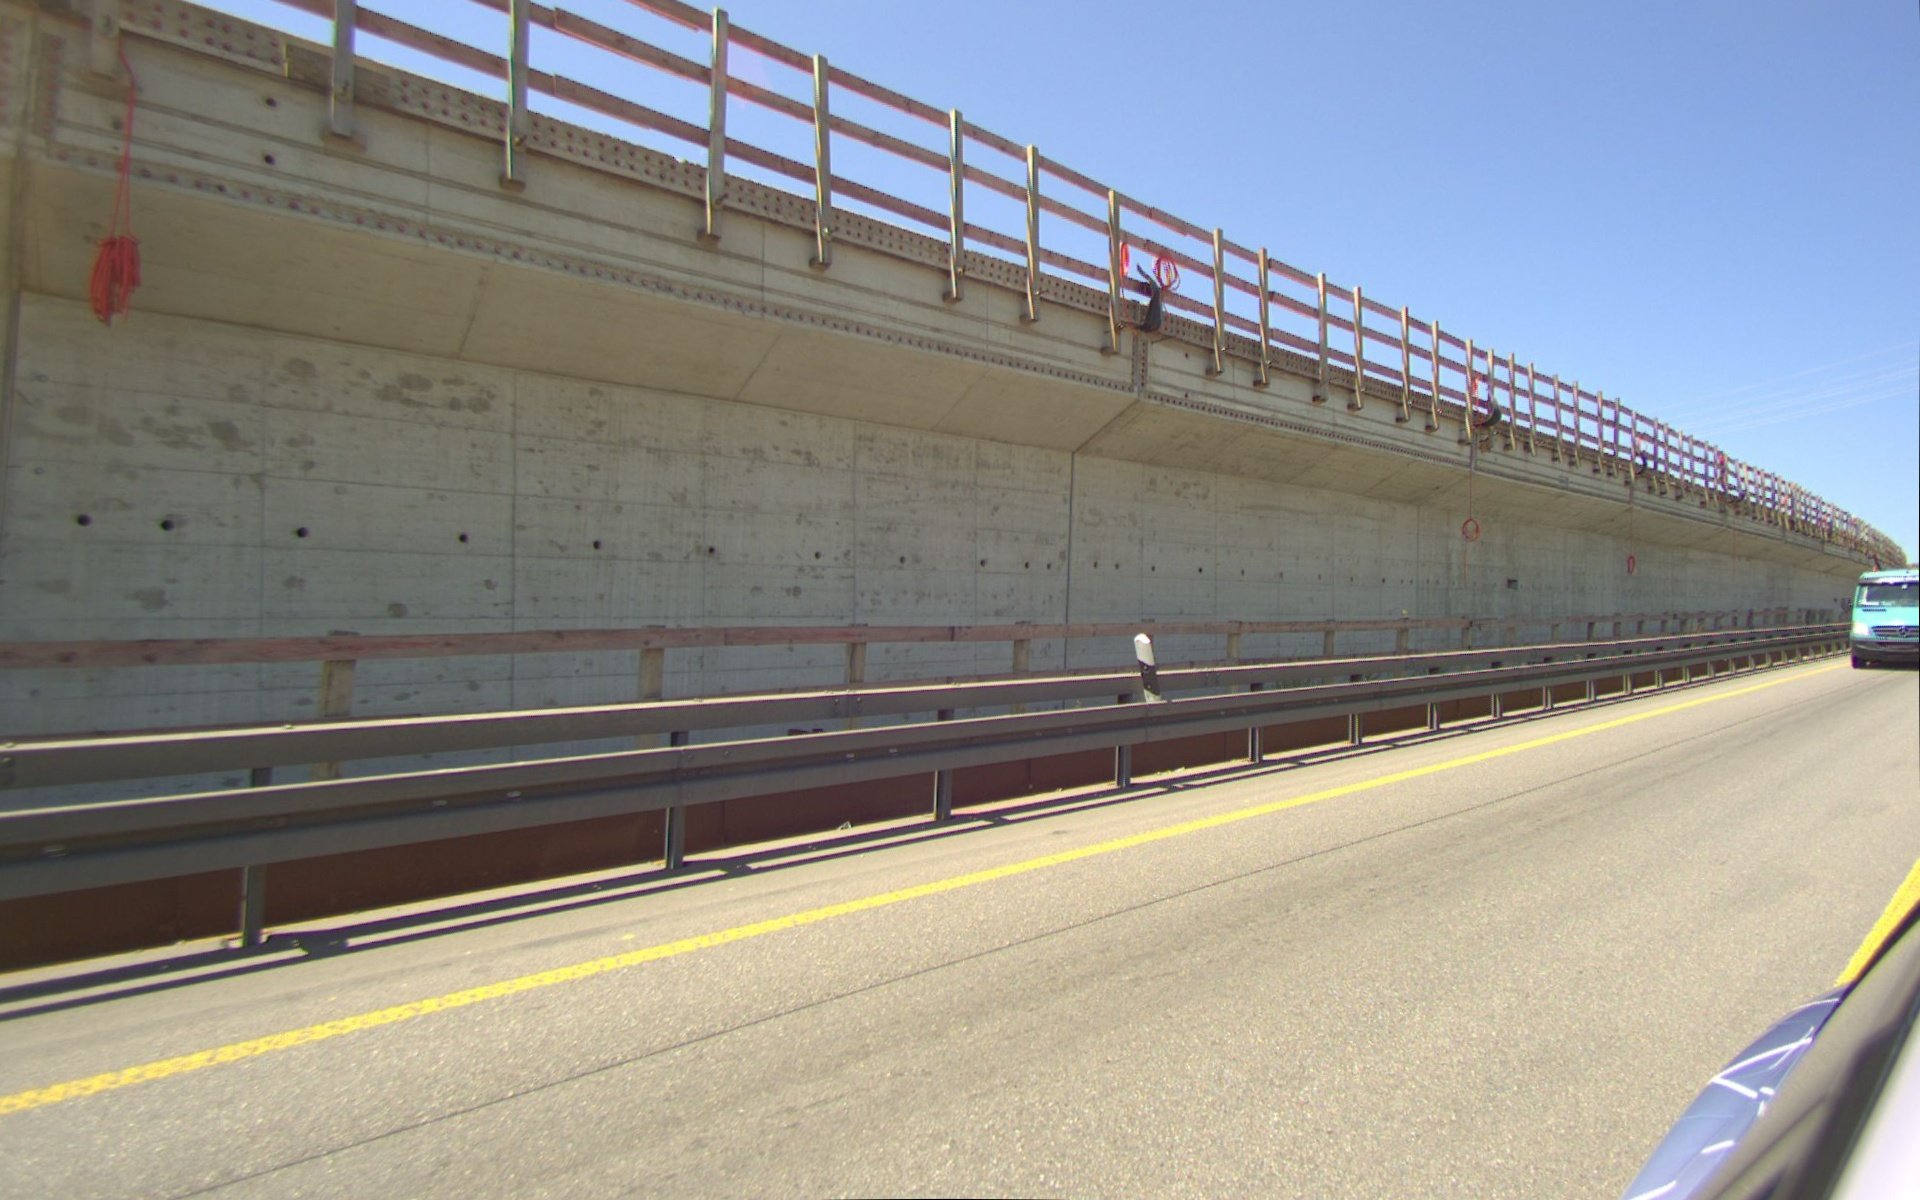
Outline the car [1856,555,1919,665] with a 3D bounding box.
[{"bbox_3d":[23.670,0.191,24.568,7.086,2.411,1.966,-1,-2,-42],"label":"car"}]
